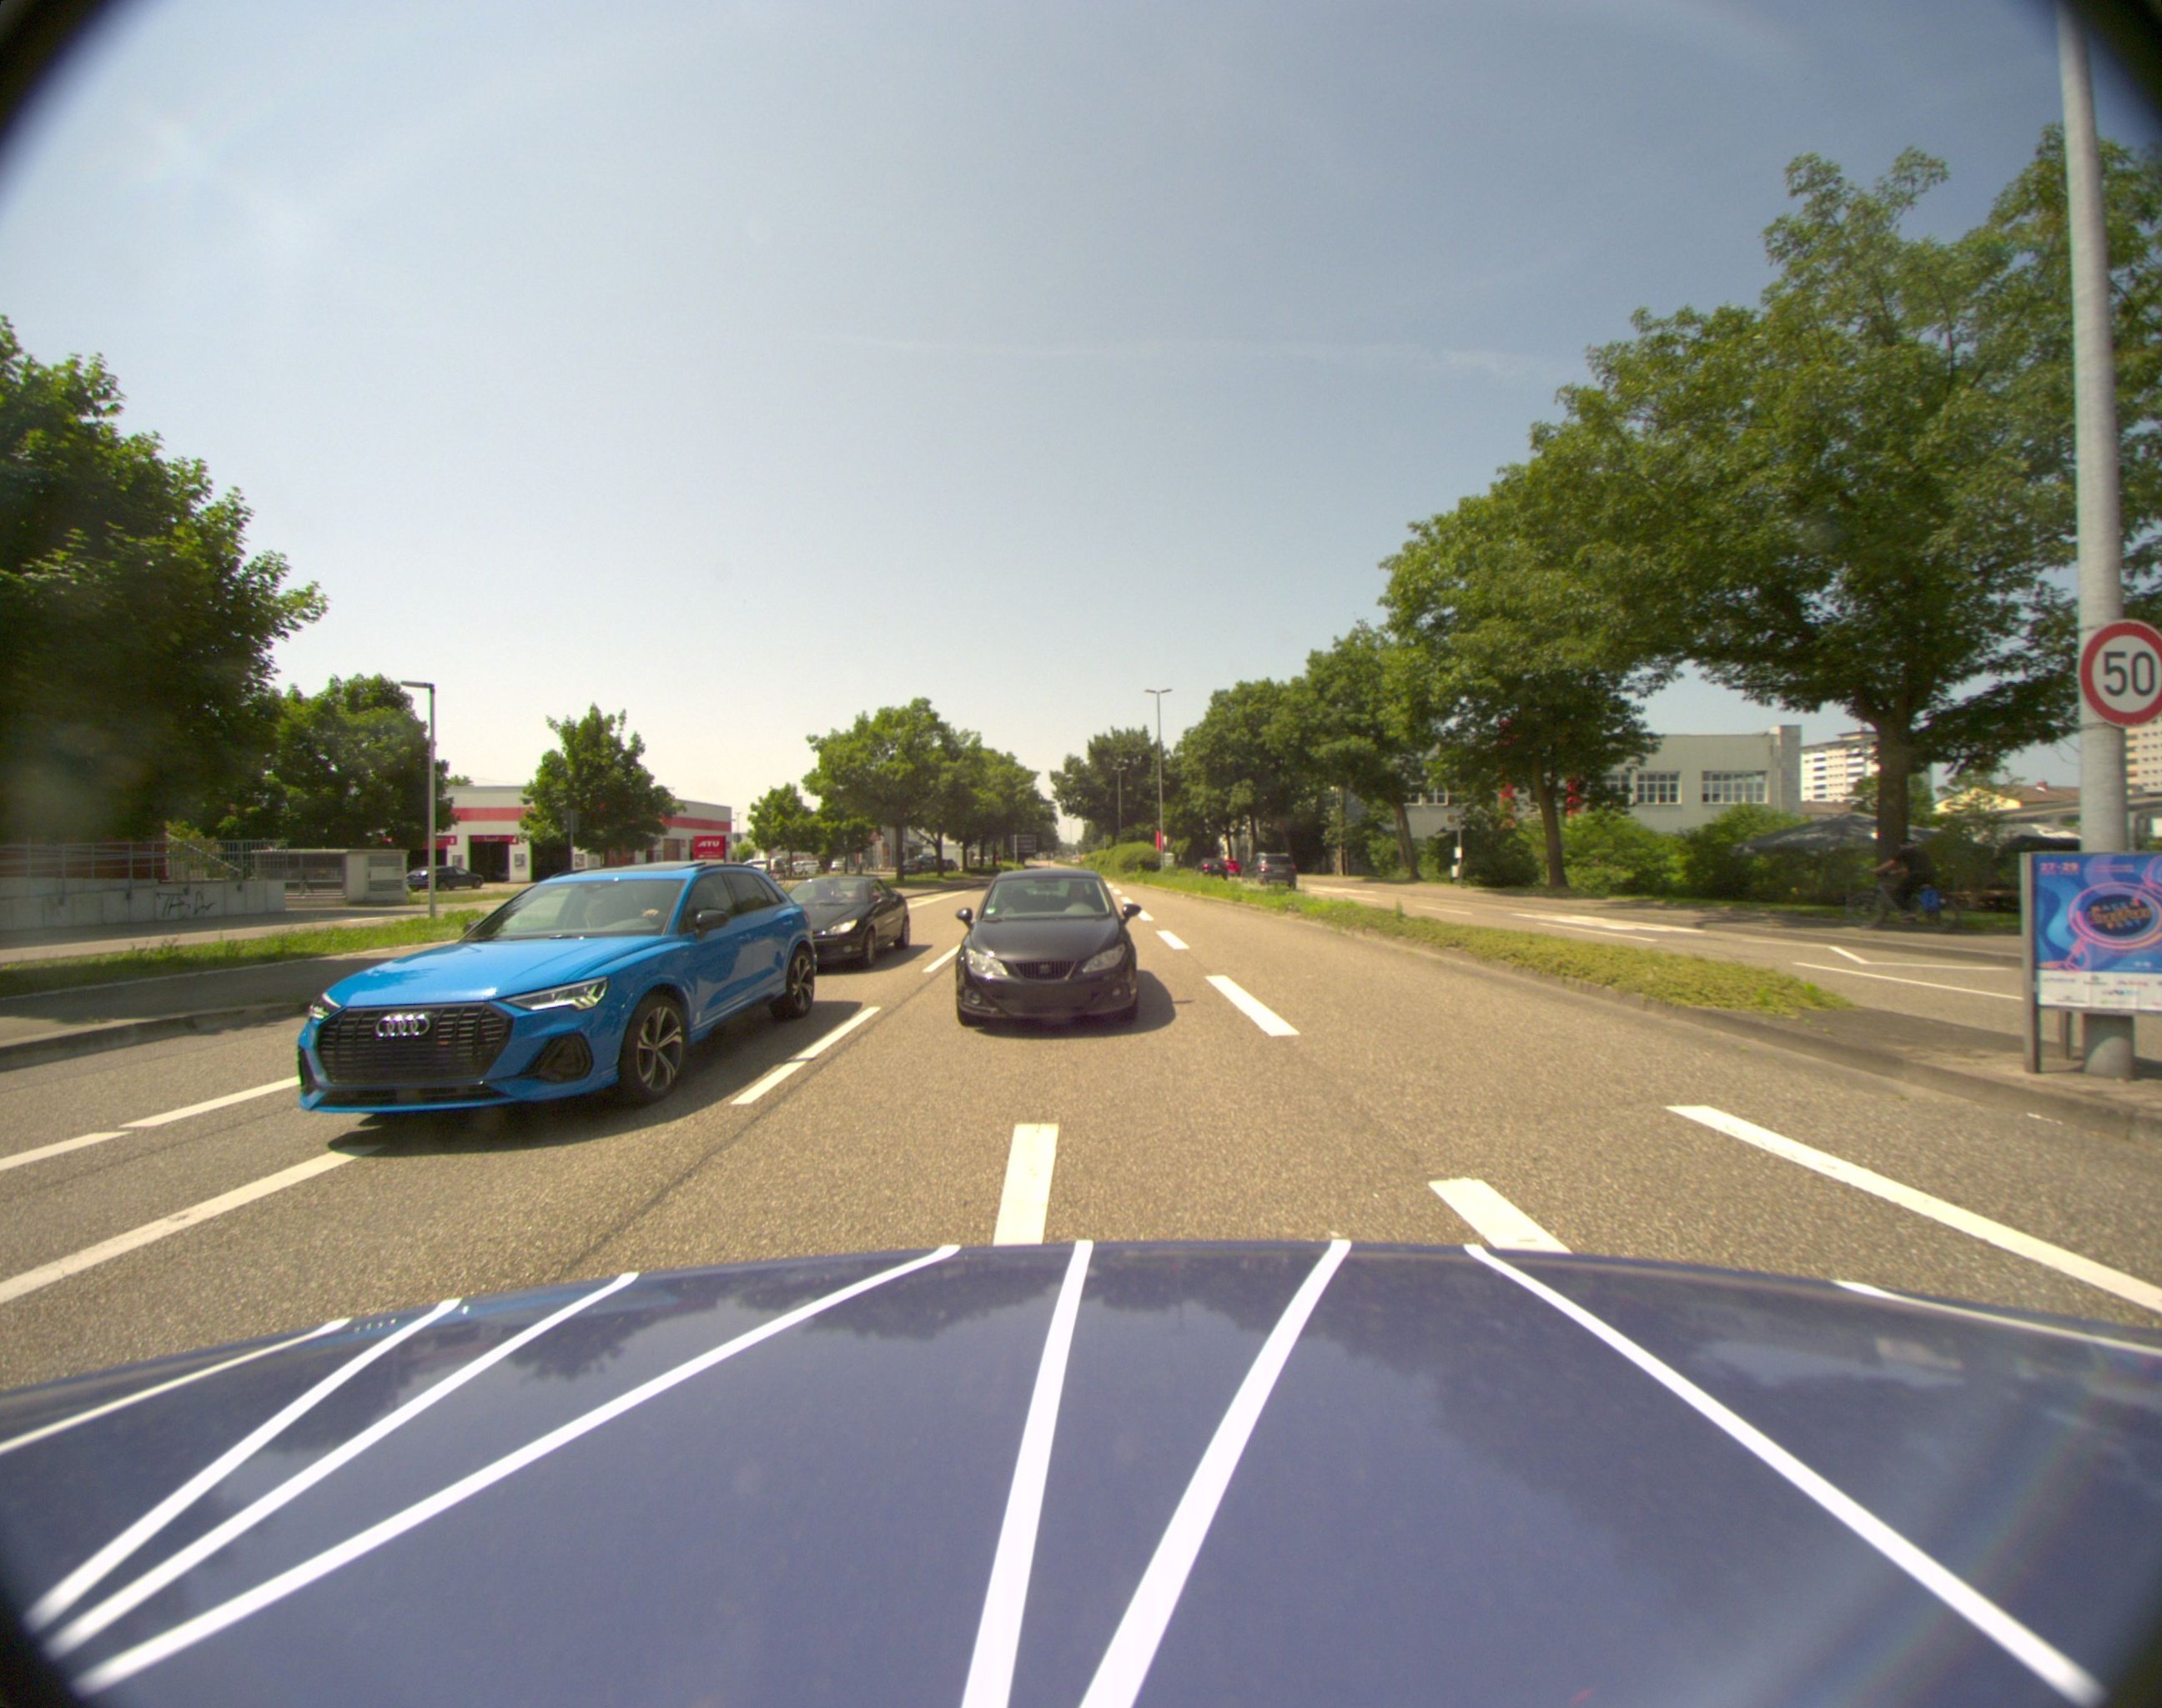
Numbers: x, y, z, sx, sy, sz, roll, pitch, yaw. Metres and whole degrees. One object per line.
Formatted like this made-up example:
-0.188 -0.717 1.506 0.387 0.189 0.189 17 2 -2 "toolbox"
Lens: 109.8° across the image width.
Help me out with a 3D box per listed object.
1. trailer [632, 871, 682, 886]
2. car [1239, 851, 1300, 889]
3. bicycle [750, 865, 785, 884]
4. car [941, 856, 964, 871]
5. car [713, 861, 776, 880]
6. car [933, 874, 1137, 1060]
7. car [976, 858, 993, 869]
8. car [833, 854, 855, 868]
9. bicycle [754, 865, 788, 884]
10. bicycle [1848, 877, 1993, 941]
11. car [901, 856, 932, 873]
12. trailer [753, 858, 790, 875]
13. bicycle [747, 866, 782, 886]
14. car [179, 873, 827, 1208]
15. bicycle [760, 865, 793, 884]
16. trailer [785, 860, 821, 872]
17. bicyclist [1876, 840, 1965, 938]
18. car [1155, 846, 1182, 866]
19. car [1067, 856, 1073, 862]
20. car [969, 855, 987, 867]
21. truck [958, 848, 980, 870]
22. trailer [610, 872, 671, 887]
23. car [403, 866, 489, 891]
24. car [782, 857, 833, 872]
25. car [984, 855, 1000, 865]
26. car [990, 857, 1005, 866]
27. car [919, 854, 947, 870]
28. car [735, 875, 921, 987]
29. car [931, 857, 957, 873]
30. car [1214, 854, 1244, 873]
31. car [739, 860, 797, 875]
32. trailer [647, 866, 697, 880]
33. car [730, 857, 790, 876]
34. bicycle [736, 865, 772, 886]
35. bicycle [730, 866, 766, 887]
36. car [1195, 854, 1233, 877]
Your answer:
-24.046 1.377 43.119 2.137 0.757 1.267 -1 0 1 "trailer"
8.496 0.683 34.508 1.691 1.591 3.884 2 0 -1 "car"
-18.287 1.200 44.365 1.784 1.117 0.514 0 0 -6 "bicycle"
-13.554 1.018 80.278 1.719 1.504 4.000 0 0 1 "car"
-25.501 1.264 57.658 3.998 1.394 1.747 0 0 -2 "car"
-0.391 0.973 8.184 1.642 1.395 4.000 0 0 -1 "car"
-13.269 1.229 104.606 1.719 1.458 4.000 0 0 1 "car"
-27.415 0.843 87.976 1.759 1.586 3.997 0 0 -7 "car"
-18.377 1.221 45.084 1.784 1.117 0.514 0 0 -6 "bicycle"
15.690 0.996 14.289 0.656 1.045 1.884 -1 0 1 "bicycle"
-13.509 0.851 62.703 1.642 1.363 4.000 0 0 1 "car"
-27.234 1.087 66.869 2.642 1.518 1.415 0 0 -2 "trailer"
-18.193 1.237 43.725 1.784 1.117 0.514 0 0 -6 "bicycle"
-3.712 1.017 6.124 1.842 1.586 4.400 -1 0 0 "car"
-18.412 1.213 45.915 1.784 1.117 0.514 0 0 -6 "bicycle"
-24.491 1.080 67.031 2.642 1.046 1.578 0 0 -2 "trailer"
15.695 0.634 14.230 0.651 1.759 0.927 -1 1 0 "bicyclist"
8.708 0.185 75.739 1.999 1.934 4.907 2 0 -1 "car"
-3.389 1.620 235.947 1.999 1.692 4.000 0 0 0 "car"
-13.301 0.917 97.842 1.719 1.458 4.000 0 0 1 "car"
-13.535 0.571 92.007 1.904 2.552 4.000 0 0 2 "truck"
-23.871 1.397 41.252 2.467 0.757 1.449 -1 0 1 "trailer"
-38.160 1.456 45.822 1.717 1.364 4.145 0 0 0 "car"
-25.030 0.945 69.605 3.998 1.293 1.689 0 0 -3 "car"
-13.122 0.851 112.110 1.719 1.458 4.000 0 0 1 "car"
-13.007 1.129 118.438 1.719 1.458 4.000 0 0 1 "car"
-13.422 0.698 68.931 1.719 1.458 4.000 0 0 1 "car"
-3.855 1.103 12.325 1.642 1.336 4.000 -3 0 0 "car"
-13.327 1.046 74.104 1.719 1.511 4.000 0 0 1 "car"
12.190 0.731 62.922 1.710 1.444 3.891 2 0 0 "car"
-25.596 1.075 62.255 3.998 1.201 1.747 0 0 -3 "car"
-24.101 1.130 44.797 2.137 0.757 1.394 -1 0 1 "trailer"
-25.273 0.957 59.886 3.998 1.394 1.747 0 0 -3 "car"
-18.464 1.215 42.979 1.784 1.117 0.514 0 0 -6 "bicycle"
-18.549 1.233 42.353 1.784 1.117 0.514 0 0 -6 "bicycle"
8.565 0.716 49.273 1.683 1.331 3.999 2 0 -1 "car"
